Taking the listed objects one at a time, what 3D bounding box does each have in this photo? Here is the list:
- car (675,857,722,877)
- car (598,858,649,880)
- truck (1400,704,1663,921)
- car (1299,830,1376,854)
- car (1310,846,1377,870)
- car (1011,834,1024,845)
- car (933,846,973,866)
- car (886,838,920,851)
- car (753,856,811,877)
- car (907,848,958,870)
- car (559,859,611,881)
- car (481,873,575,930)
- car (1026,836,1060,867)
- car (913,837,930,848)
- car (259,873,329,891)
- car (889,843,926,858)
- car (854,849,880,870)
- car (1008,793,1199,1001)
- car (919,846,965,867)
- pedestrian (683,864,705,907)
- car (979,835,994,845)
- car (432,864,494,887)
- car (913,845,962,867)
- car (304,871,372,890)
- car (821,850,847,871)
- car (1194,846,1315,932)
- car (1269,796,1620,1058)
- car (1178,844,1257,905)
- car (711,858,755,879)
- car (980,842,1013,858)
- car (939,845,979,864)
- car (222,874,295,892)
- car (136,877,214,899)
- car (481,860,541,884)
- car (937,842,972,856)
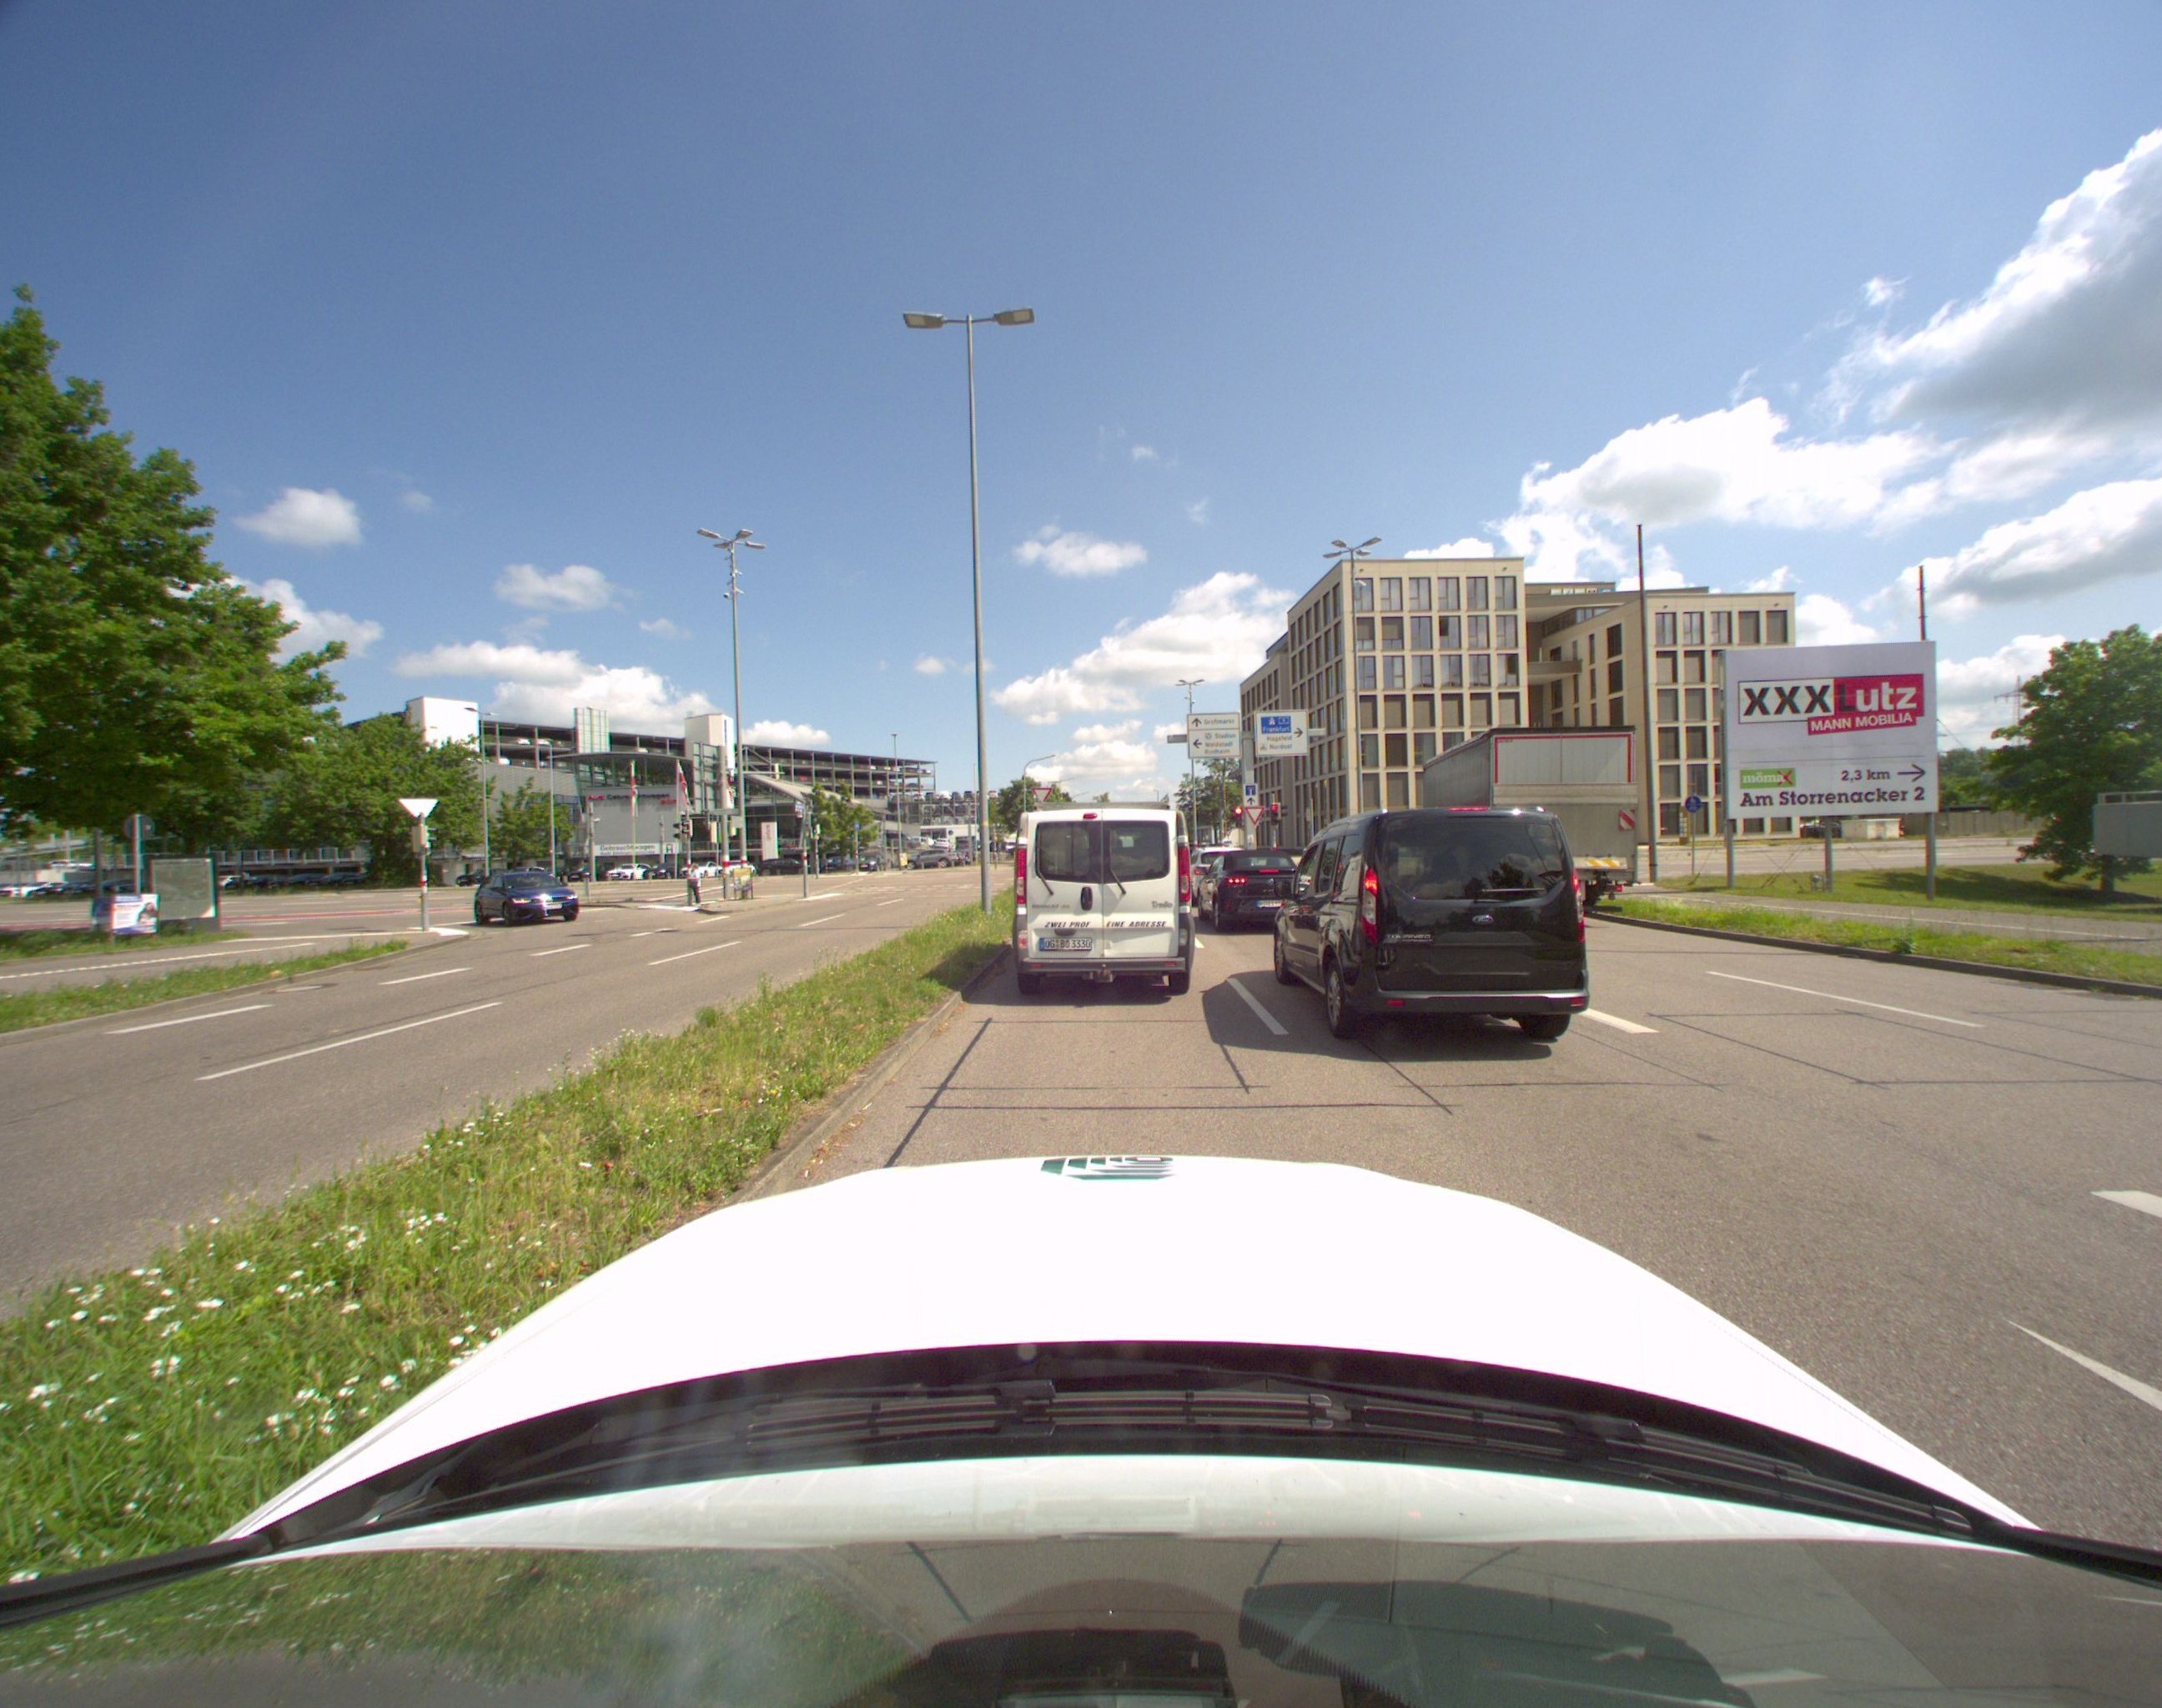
[{"bbox_3d":[-29.463,1.011,62.833,1.902,1.376,3.749,-1,1,-2],"label":"car"},{"bbox_3d":[-34.978,1.125,62.350,1.875,1.486,3.697,-1,1,-3],"label":"car"},{"bbox_3d":[9.992,-0.760,19.412,3.108,3.940,8.889,-1,0,13],"label":"truck"},{"bbox_3d":[18.425,-0.876,58.613,4.968,1.607,1.999,-1,1,-1],"label":"car"},{"bbox_3d":[17.585,0.230,54.673,3.880,1.490,1.795,-1,1,0],"label":"car"},{"bbox_3d":[-9.406,-2.162,121.041,1.841,1.530,3.997,-1,1,-3],"label":"car"},{"bbox_3d":[-12.388,0.171,78.989,3.499,1.712,1.602,-3,1,-2],"label":"car"},{"bbox_3d":[-23.494,-1.281,107.787,4.157,1.713,1.686,-1,0,-4],"label":"car"},{"bbox_3d":[-22.944,0.968,62.633,3.784,1.513,1.677,-1,1,-4],"label":"car"},{"bbox_3d":[-12.471,0.408,68.504,3.852,1.639,1.857,-3,1,-2],"label":"car"},{"bbox_3d":[-37.833,1.218,62.200,1.723,1.486,3.699,-1,1,-2],"label":"car"},{"bbox_3d":[-17.479,1.426,25.658,2.011,1.509,3.953,-4,1,-40],"label":"car"},{"bbox_3d":[-2.923,-0.226,63.878,1.962,2.256,4.988,-3,1,5],"label":"car"},{"bbox_3d":[-23.874,-1.749,121.838,1.841,1.530,3.997,-1,1,-3],"label":"car"},{"bbox_3d":[-56.675,1.996,58.734,1.585,1.191,3.505,-1,0,2],"label":"car"},{"bbox_3d":[-20.841,-0.420,97.825,4.157,1.713,1.686,-1,0,-4],"label":"car"},{"bbox_3d":[-16.686,0.410,63.460,1.820,1.552,3.979,-1,0,-15],"label":"car"},{"bbox_3d":[0.348,0.422,9.988,1.848,2.018,4.004,-1,0,4],"label":"car"},{"bbox_3d":[-12.865,0.262,75.569,3.903,1.712,1.688,-3,1,-2],"label":"car"},{"bbox_3d":[-13.830,1.105,29.080,0.465,1.512,0.515,-1,0,26],"label":"pedestrian"},{"bbox_3d":[-13.976,-2.088,120.659,1.841,1.530,3.997,-1,1,-3],"label":"car"},{"bbox_3d":[-45.720,1.561,60.341,1.833,1.487,3.697,-1,1,-3],"label":"car"},{"bbox_3d":[-12.442,0.177,70.953,3.903,1.712,1.688,-3,1,-2],"label":"car"},{"bbox_3d":[-53.863,1.922,59.120,1.585,1.191,3.505,-1,0,2],"label":"car"},{"bbox_3d":[-19.191,0.500,63.396,1.820,1.552,3.979,-1,0,-15],"label":"car"},{"bbox_3d":[3.319,0.618,16.264,1.733,1.495,4.003,0,0,3],"label":"car"},{"bbox_3d":[2.987,0.494,7.689,1.811,1.808,4.005,0,0,5],"label":"car"},{"bbox_3d":[3.753,0.529,23.027,1.733,1.543,4.003,0,0,3],"label":"car"},{"bbox_3d":[-26.906,1.075,63.049,1.771,1.450,4.027,-1,1,-2],"label":"car"},{"bbox_3d":[-10.329,-0.521,99.810,3.980,1.925,1.824,-1,0,-5],"label":"car"},{"bbox_3d":[-13.037,0.046,87.283,3.903,1.712,1.688,-3,1,-2],"label":"car"},{"bbox_3d":[-59.040,2.065,58.518,1.585,1.191,3.505,-1,0,2],"label":"car"},{"bbox_3d":[-64.675,2.395,58.232,1.585,1.390,3.505,-1,0,2],"label":"car"},{"bbox_3d":[-42.269,1.303,60.516,1.810,1.664,3.790,-1,0,-2],"label":"car"},{"bbox_3d":[-15.395,-0.662,99.337,4.157,1.712,1.686,0,1,-5],"label":"car"}]
